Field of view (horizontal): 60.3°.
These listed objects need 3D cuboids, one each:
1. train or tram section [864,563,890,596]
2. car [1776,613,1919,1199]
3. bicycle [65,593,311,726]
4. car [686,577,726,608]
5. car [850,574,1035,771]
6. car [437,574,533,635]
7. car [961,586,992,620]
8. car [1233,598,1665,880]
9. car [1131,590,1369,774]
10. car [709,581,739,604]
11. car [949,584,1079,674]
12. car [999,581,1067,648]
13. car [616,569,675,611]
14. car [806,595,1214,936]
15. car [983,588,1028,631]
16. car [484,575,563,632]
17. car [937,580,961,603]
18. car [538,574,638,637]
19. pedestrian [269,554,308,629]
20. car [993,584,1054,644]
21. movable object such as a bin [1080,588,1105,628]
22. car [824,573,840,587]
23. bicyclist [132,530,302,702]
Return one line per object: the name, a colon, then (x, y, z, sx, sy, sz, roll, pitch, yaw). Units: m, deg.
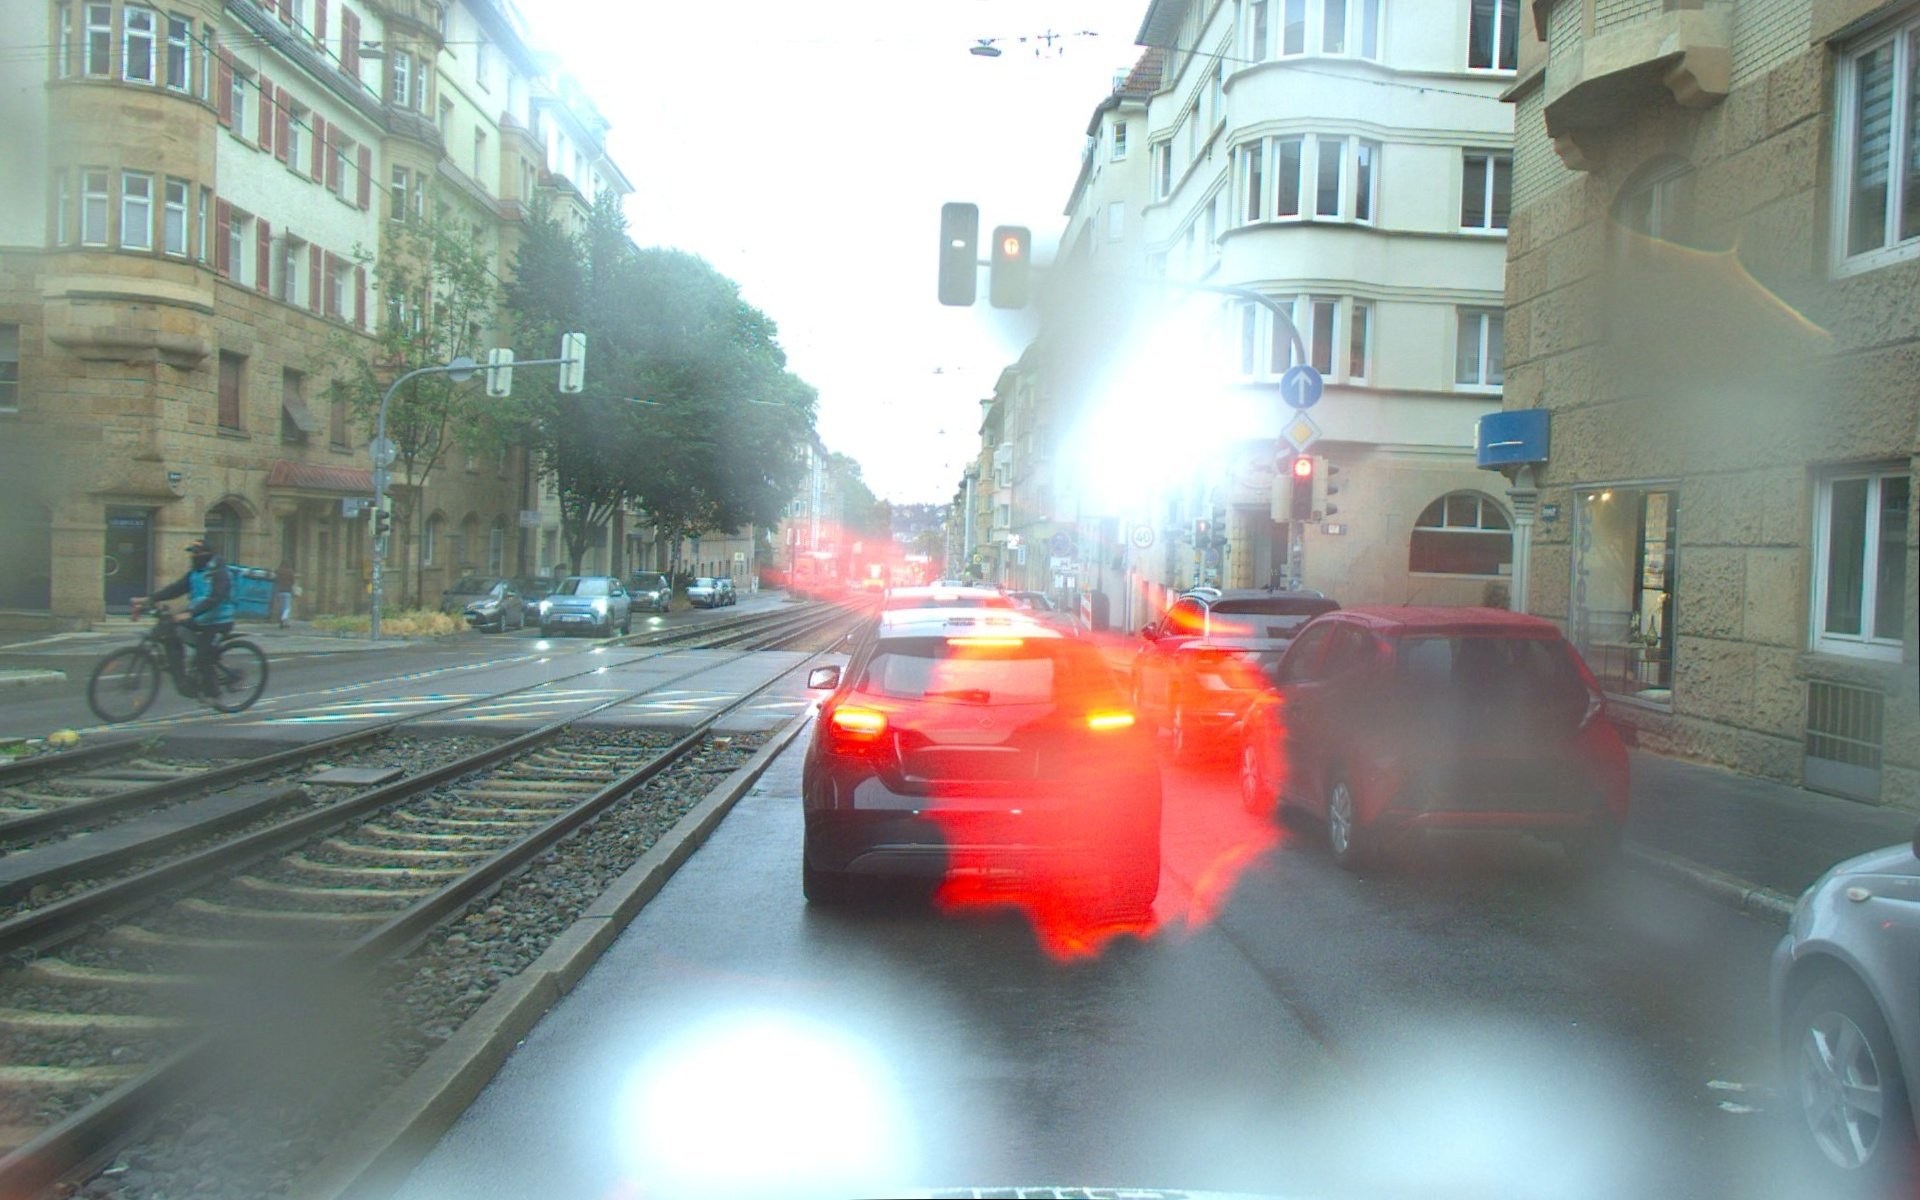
train or tram section: (-10.338, -2.463, 206.552, 2.726, 3.928, 10.427, 1, 0, -1)
car: (3.125, 0.790, 3.084, 1.581, 1.493, 3.312, 0, 0, 0)
bicycle: (-7.495, 0.555, 16.144, 0.810, 1.207, 2.028, 0, -1, 38)
car: (-13.650, -0.381, 88.950, 1.557, 1.608, 3.917, 1, 0, -1)
car: (-0.173, 0.620, 15.817, 1.533, 1.637, 3.813, 1, 0, -1)
car: (-13.008, 0.131, 45.479, 1.718, 1.579, 4.032, 1, 0, -4)
car: (0.729, 0.132, 73.589, 1.268, 1.467, 2.928, 1, 0, -1)
car: (2.908, 0.751, 10.543, 1.609, 1.473, 3.297, 1, 0, -3)
car: (2.633, 0.679, 15.778, 1.513, 1.512, 3.829, 1, 0, -1)
car: (-14.017, -0.437, 98.355, 1.419, 1.354, 3.270, 1, 0, -3)
car: (1.020, 0.533, 32.935, 1.520, 1.664, 3.670, 1, 0, -16)
car: (1.843, 0.351, 42.649, 1.513, 1.618, 3.547, 1, 0, -1)
car: (-13.556, -0.409, 71.489, 1.837, 1.767, 3.917, 1, 0, -1)
car: (0.193, 0.735, 9.434, 1.792, 1.483, 4.103, 1, 0, -1)
car: (1.669, 0.326, 61.531, 1.513, 1.512, 3.547, 1, 0, -1)
car: (-13.272, 0.113, 50.506, 1.683, 1.639, 3.914, 1, 0, -5)
car: (-0.951, -0.751, 141.992, 1.953, 1.909, 3.999, 1, 0, -1)
car: (-10.043, 0.147, 44.910, 1.860, 1.615, 3.972, 1, 0, -1)
pedestrian: (-15.658, -0.194, 38.569, 0.619, 1.702, 0.702, 1, -1, -5)
car: (1.773, 0.378, 47.122, 1.513, 1.618, 3.547, 1, 0, -1)
movable object such as a bin: (4.769, 0.302, 59.626, 0.859, 1.413, 0.983, 1, -1, 3)
car: (-12.244, -1.940, 158.108, 1.349, 1.271, 3.296, 1, 0, -2)
bicyclist: (-7.329, 0.153, 16.347, 0.869, 1.625, 1.248, 1, -1, 37)
